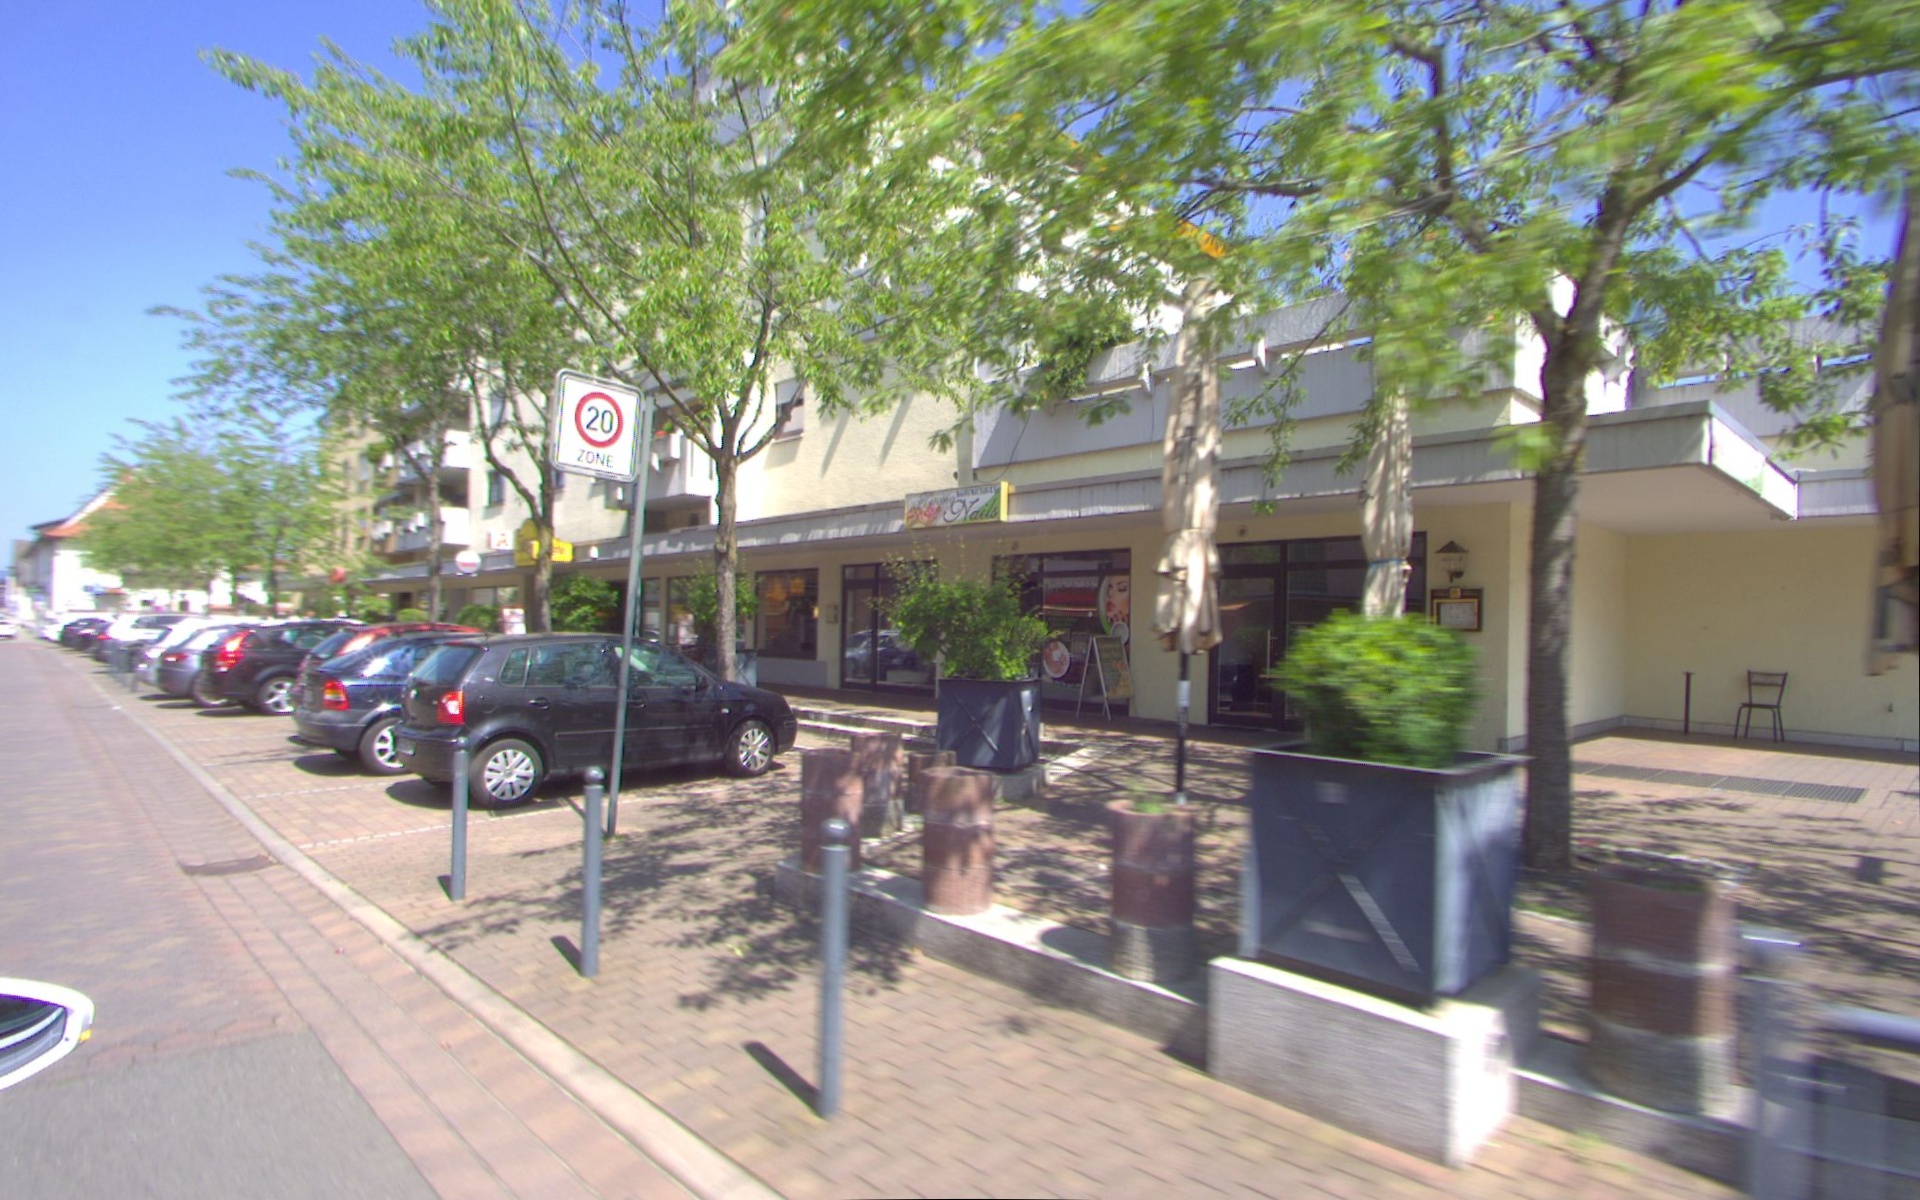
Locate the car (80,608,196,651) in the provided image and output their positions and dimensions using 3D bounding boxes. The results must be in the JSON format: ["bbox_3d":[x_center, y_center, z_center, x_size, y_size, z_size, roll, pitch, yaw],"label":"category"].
[{"bbox_3d":[-33.635,1.248,41.025,1.693,1.676,3.501,-1,-3,45],"label":"car"}]

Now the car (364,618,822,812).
[{"bbox_3d":[-3.481,0.975,9.995,1.754,1.529,3.936,0,-2,44],"label":"car"}]

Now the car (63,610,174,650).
[{"bbox_3d":[-36.271,1.322,43.202,1.693,1.645,3.501,-1,-3,45],"label":"car"}]

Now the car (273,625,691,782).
[{"bbox_3d":[-5.420,1.049,11.698,4.071,1.450,1.766,1,0,-45],"label":"car"}]

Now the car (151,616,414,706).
[{"bbox_3d":[-12.501,1.085,18.612,3.906,1.508,1.702,2,-2,-39],"label":"car"}]

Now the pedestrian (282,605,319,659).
[{"bbox_3d":[-22.329,1.085,33.908,0.797,1.810,0.834,1,0,40],"label":"pedestrian"}]

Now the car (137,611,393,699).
[{"bbox_3d":[-14.216,1.103,20.628,4.125,1.594,1.742,3,-1,-43],"label":"car"}]

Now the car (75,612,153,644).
[{"bbox_3d":[-49.009,1.639,58.052,1.455,1.737,3.328,-1,-2,45],"label":"car"}]

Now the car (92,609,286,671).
[{"bbox_3d":[-21.915,1.130,28.572,1.542,1.636,4.219,0,-2,45],"label":"car"}]

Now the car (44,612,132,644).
[{"bbox_3d":[-47.833,1.521,54.951,1.518,1.722,3.462,-1,-1,41],"label":"car"}]

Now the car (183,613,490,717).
[{"bbox_3d":[-10.677,1.052,17.355,1.924,1.561,4.161,0,-2,42],"label":"car"}]

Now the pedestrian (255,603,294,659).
[{"bbox_3d":[-22.521,1.014,32.897,0.797,1.810,0.834,1,0,40],"label":"pedestrian"}]

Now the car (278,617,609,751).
[{"bbox_3d":[-6.940,1.020,13.672,3.699,1.555,1.748,1,0,-44],"label":"car"}]

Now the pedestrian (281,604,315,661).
[{"bbox_3d":[-21.455,1.040,32.480,0.829,1.810,0.802,2,0,-31],"label":"pedestrian"}]

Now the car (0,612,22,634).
[{"bbox_3d":[-73.370,1.726,76.978,1.820,1.552,3.906,2,-1,-43],"label":"car"}]
